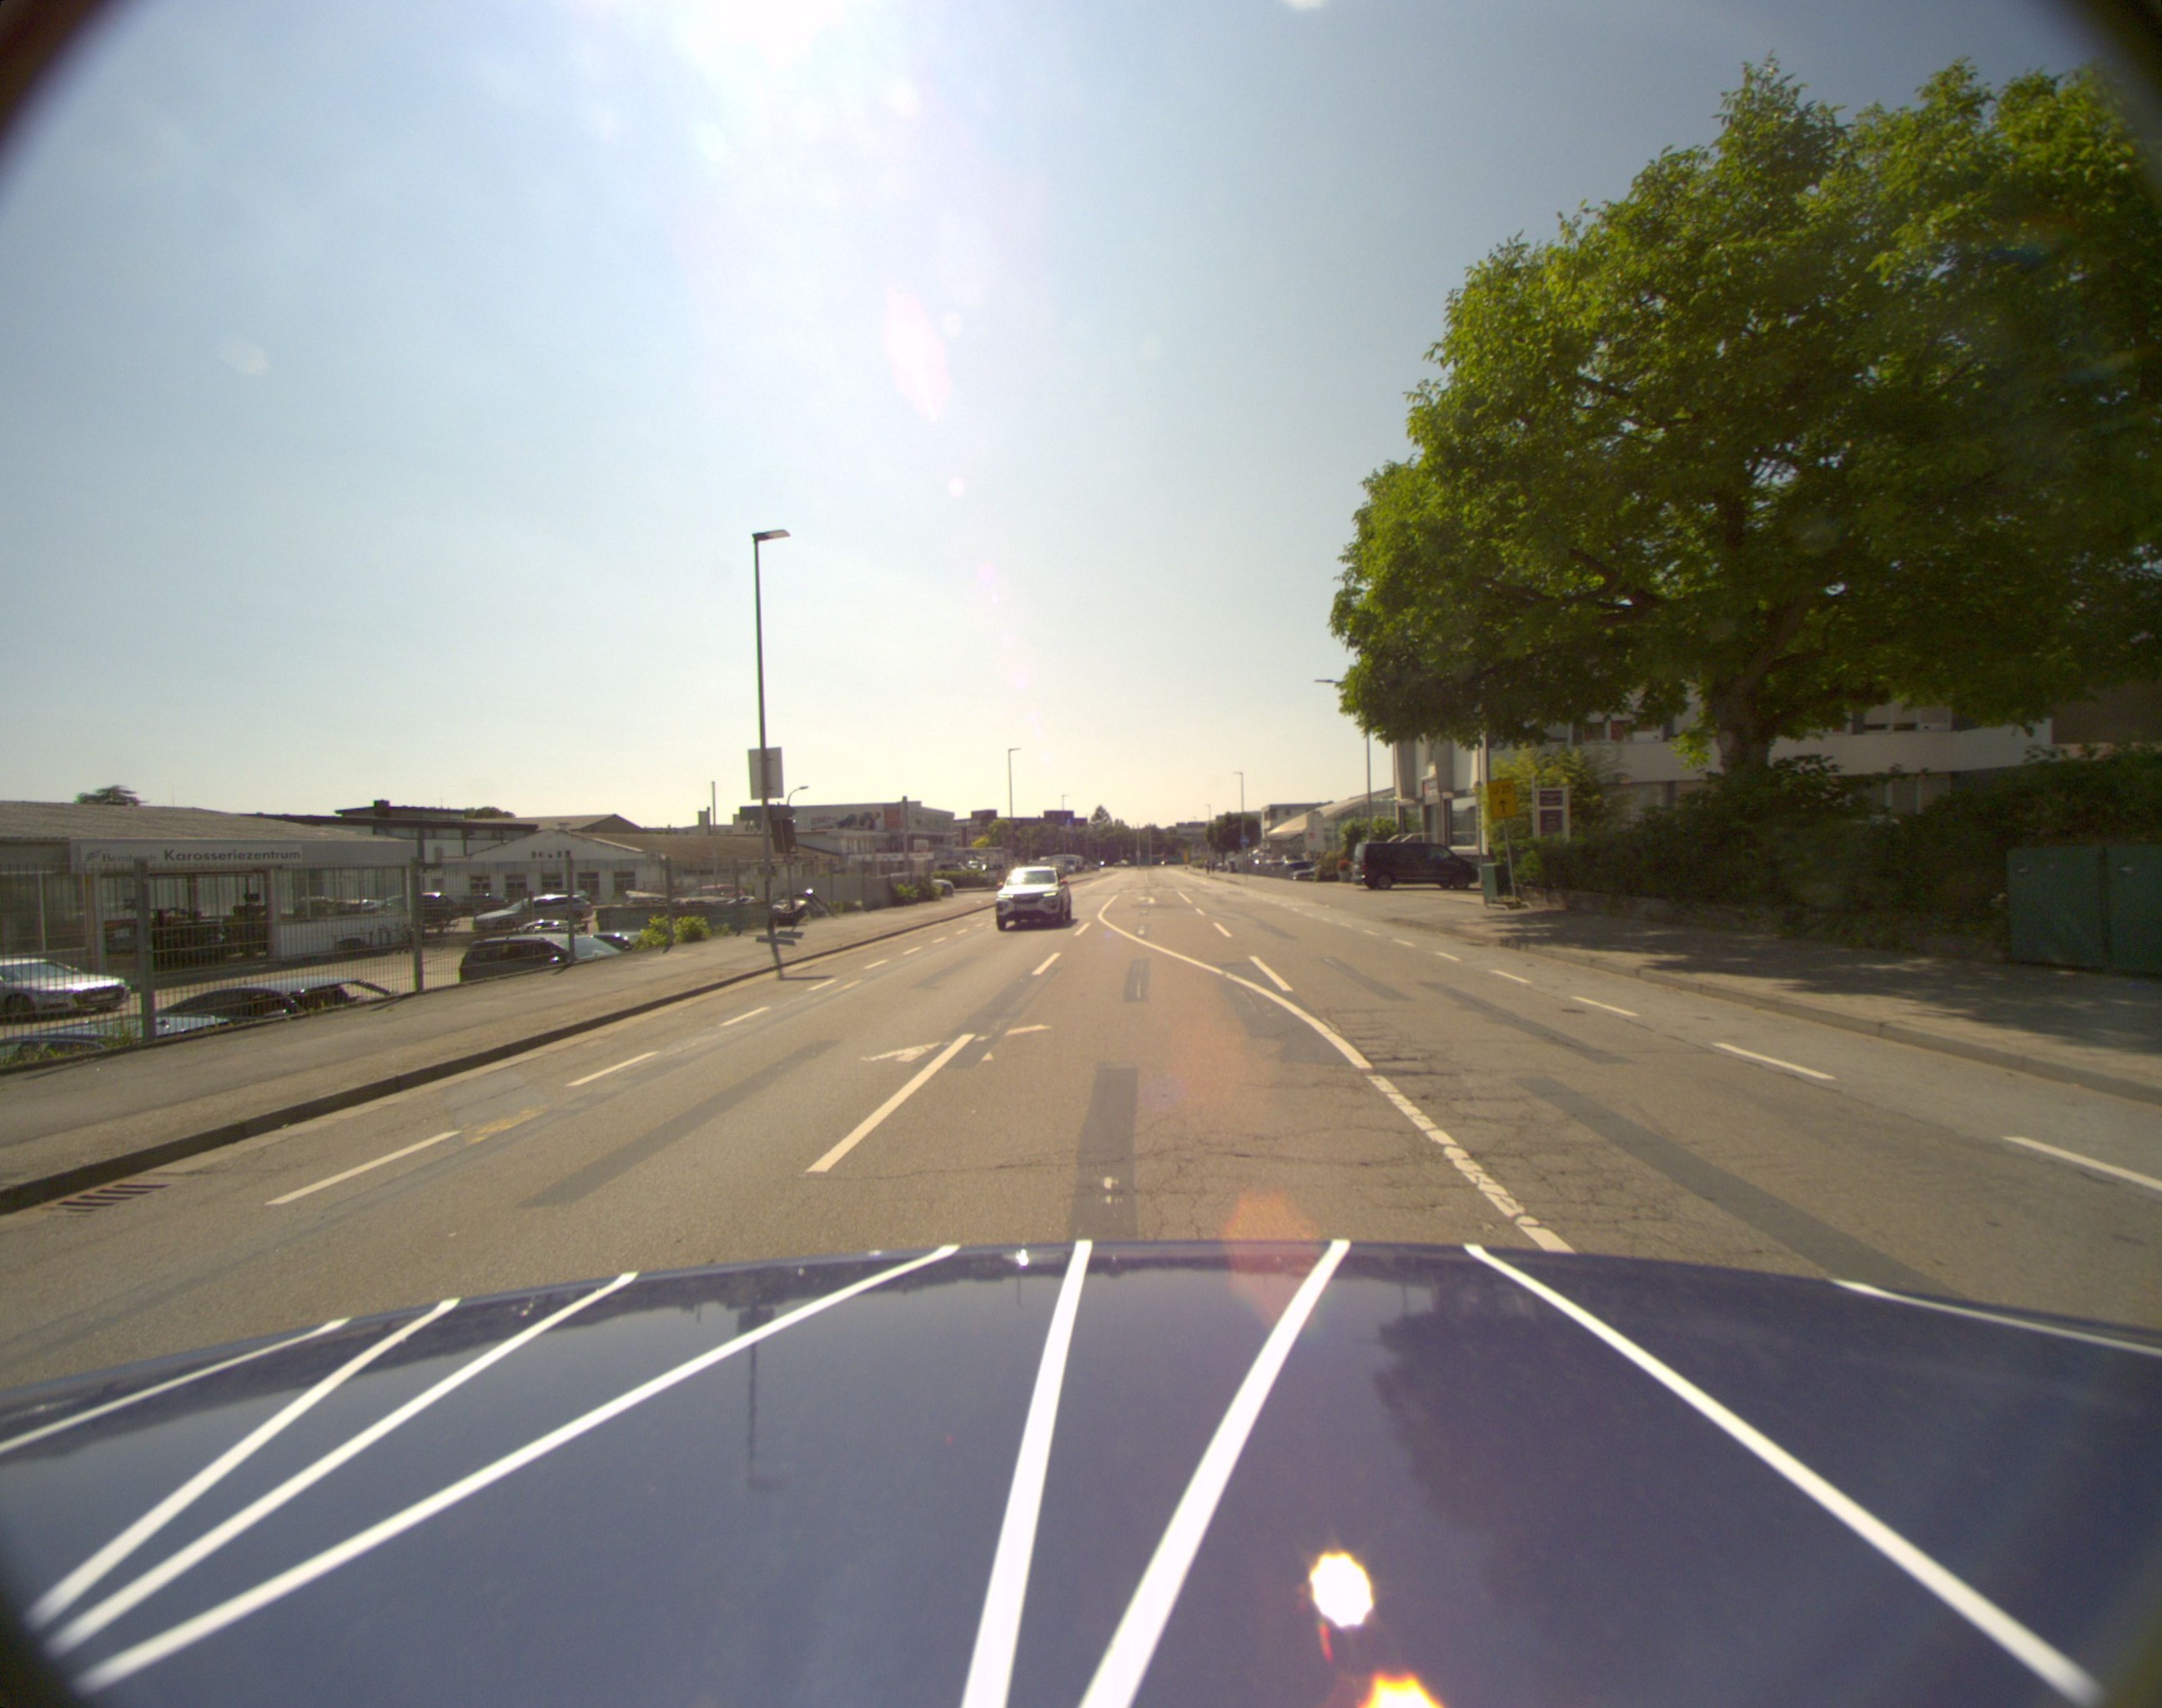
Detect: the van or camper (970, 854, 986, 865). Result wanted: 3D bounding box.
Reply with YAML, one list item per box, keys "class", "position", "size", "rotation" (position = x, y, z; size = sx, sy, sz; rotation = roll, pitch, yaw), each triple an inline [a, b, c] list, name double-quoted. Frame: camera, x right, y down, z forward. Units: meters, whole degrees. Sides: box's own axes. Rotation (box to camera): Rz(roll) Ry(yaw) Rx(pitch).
- class: "van or camper"
  position: [-18.415, 1.007, 136.011]
  size: [2.122, 2.002, 5.115]
  rotation: [-1, 0, -1]

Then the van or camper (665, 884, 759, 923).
- class: "van or camper"
  position: [-17.259, 2.276, 35.767]
  size: [1.998, 1.343, 4.230]
  rotation: [-7, -1, 4]

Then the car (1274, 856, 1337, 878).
- class: "car"
  position: [17.510, 1.004, 59.293]
  size: [4.306, 1.549, 1.995]
  rotation: [-1, 0, 1]

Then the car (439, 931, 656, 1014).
- class: "car"
  position: [-13.217, 2.921, 19.015]
  size: [3.996, 1.641, 2.000]
  rotation: [-2, 0, 3]

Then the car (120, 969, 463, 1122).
- class: "car"
  position: [-13.800, 3.305, 13.463]
  size: [3.996, 2.002, 2.001]
  rotation: [-4, 0, 4]

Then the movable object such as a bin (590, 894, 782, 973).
- class: "movable object such as a bin"
  position: [-12.751, 2.550, 24.721]
  size: [5.126, 2.002, 2.001]
  rotation: [-5, 0, 5]

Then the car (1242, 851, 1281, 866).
- class: "car"
  position: [20.526, 0.534, 86.588]
  size: [4.005, 1.541, 1.855]
  rotation: [-2, 0, -26]

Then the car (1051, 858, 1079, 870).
- class: "car"
  position: [-2.298, 1.468, 112.136]
  size: [3.930, 1.584, 1.799]
  rotation: [-2, 0, 5]

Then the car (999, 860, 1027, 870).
- class: "car"
  position: [-11.592, 1.876, 130.277]
  size: [4.548, 1.668, 2.000]
  rotation: [-1, 0, 1]

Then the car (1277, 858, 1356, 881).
- class: "car"
  position: [15.857, 1.036, 51.362]
  size: [4.749, 1.472, 2.049]
  rotation: [-1, 0, 4]

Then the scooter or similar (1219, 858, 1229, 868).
- class: "scooter or similar"
  position: [17.124, 1.056, 91.148]
  size: [0.746, 1.240, 1.490]
  rotation: [-2, 0, -3]

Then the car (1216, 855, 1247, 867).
- class: "car"
  position: [20.670, 0.980, 104.334]
  size: [4.168, 1.451, 1.903]
  rotation: [-3, 0, -38]

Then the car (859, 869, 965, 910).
- class: "car"
  position: [-7.670, 1.607, 34.940]
  size: [1.953, 1.350, 4.504]
  rotation: [-6, 0, 35]

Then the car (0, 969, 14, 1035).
- class: "car"
  position: [-27.211, 3.532, 17.042]
  size: [3.996, 1.507, 1.847]
  rotation: [-1, 2, 2]

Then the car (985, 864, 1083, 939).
- class: "car"
  position: [-1.075, 1.116, 19.243]
  size: [1.725, 1.476, 3.678]
  rotation: [-3, 1, 8]

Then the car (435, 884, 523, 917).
- class: "car"
  position: [-38.341, 2.948, 48.474]
  size: [3.997, 1.783, 2.000]
  rotation: [-3, 0, 1]

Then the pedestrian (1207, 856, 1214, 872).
- class: "pedestrian"
  position: [14.557, 1.112, 85.349]
  size: [0.733, 1.856, 1.048]
  rotation: [-1, 0, 11]

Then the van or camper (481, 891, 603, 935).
- class: "van or camper"
  position: [-25.558, 2.743, 36.185]
  size: [1.994, 1.535, 4.236]
  rotation: [3, 4, 32]

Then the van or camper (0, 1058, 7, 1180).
- class: "van or camper"
  position: [-14.165, 2.872, 7.457]
  size: [4.323, 1.641, 2.021]
  rotation: [-2, 0, 1]

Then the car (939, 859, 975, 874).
- class: "car"
  position: [-20.332, 2.036, 124.756]
  size: [5.310, 2.404, 2.326]
  rotation: [-1, 0, 0]

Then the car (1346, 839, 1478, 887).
- class: "car"
  position: [13.536, 0.367, 31.321]
  size: [4.575, 1.854, 2.093]
  rotation: [-1, 0, 6]

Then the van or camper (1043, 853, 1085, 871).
- class: "van or camper"
  position: [-2.650, 1.280, 121.483]
  size: [6.362, 2.684, 2.713]
  rotation: [-1, 0, 5]

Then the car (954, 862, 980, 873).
- class: "car"
  position: [-19.523, 2.312, 130.485]
  size: [4.115, 1.722, 2.000]
  rotation: [-1, 0, 1]

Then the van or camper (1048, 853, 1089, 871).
- class: "van or camper"
  position: [-2.026, 1.296, 124.471]
  size: [6.362, 2.700, 2.713]
  rotation: [-1, 0, 5]

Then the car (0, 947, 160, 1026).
- class: "car"
  position: [-27.365, 3.436, 19.929]
  size: [3.996, 1.653, 2.000]
  rotation: [-1, 2, 2]

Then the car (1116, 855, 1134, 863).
- class: "car"
  position: [11.233, 1.215, 192.955]
  size: [3.991, 1.696, 2.003]
  rotation: [-4, 0, 26]

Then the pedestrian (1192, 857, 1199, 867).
- class: "pedestrian"
  position: [19.030, 1.292, 126.455]
  size: [0.995, 1.675, 0.800]
  rotation: [-1, 0, 16]

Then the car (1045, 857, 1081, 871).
- class: "car"
  position: [-2.756, 1.527, 115.888]
  size: [5.245, 1.940, 2.001]
  rotation: [-1, 0, 5]

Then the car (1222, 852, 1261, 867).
- class: "car"
  position: [19.704, 0.697, 93.187]
  size: [4.587, 1.686, 1.855]
  rotation: [-2, 0, -30]

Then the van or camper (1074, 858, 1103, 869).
- class: "van or camper"
  position: [1.490, 1.742, 145.290]
  size: [5.143, 1.950, 1.982]
  rotation: [0, 1, -25]

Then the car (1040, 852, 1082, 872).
- class: "car"
  position: [-3.103, 1.235, 118.532]
  size: [6.241, 2.852, 2.321]
  rotation: [-1, 0, 6]

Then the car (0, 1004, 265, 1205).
- class: "car"
  position: [-14.116, 3.343, 10.284]
  size: [3.996, 2.002, 2.001]
  rotation: [-4, 0, 4]

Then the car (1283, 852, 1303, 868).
- class: "car"
  position: [23.908, 0.681, 85.694]
  size: [1.996, 1.674, 4.004]
  rotation: [-2, 0, 13]

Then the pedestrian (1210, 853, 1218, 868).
- class: "pedestrian"
  position: [15.859, 0.764, 90.583]
  size: [0.725, 1.837, 0.911]
  rotation: [-1, 0, 0]
